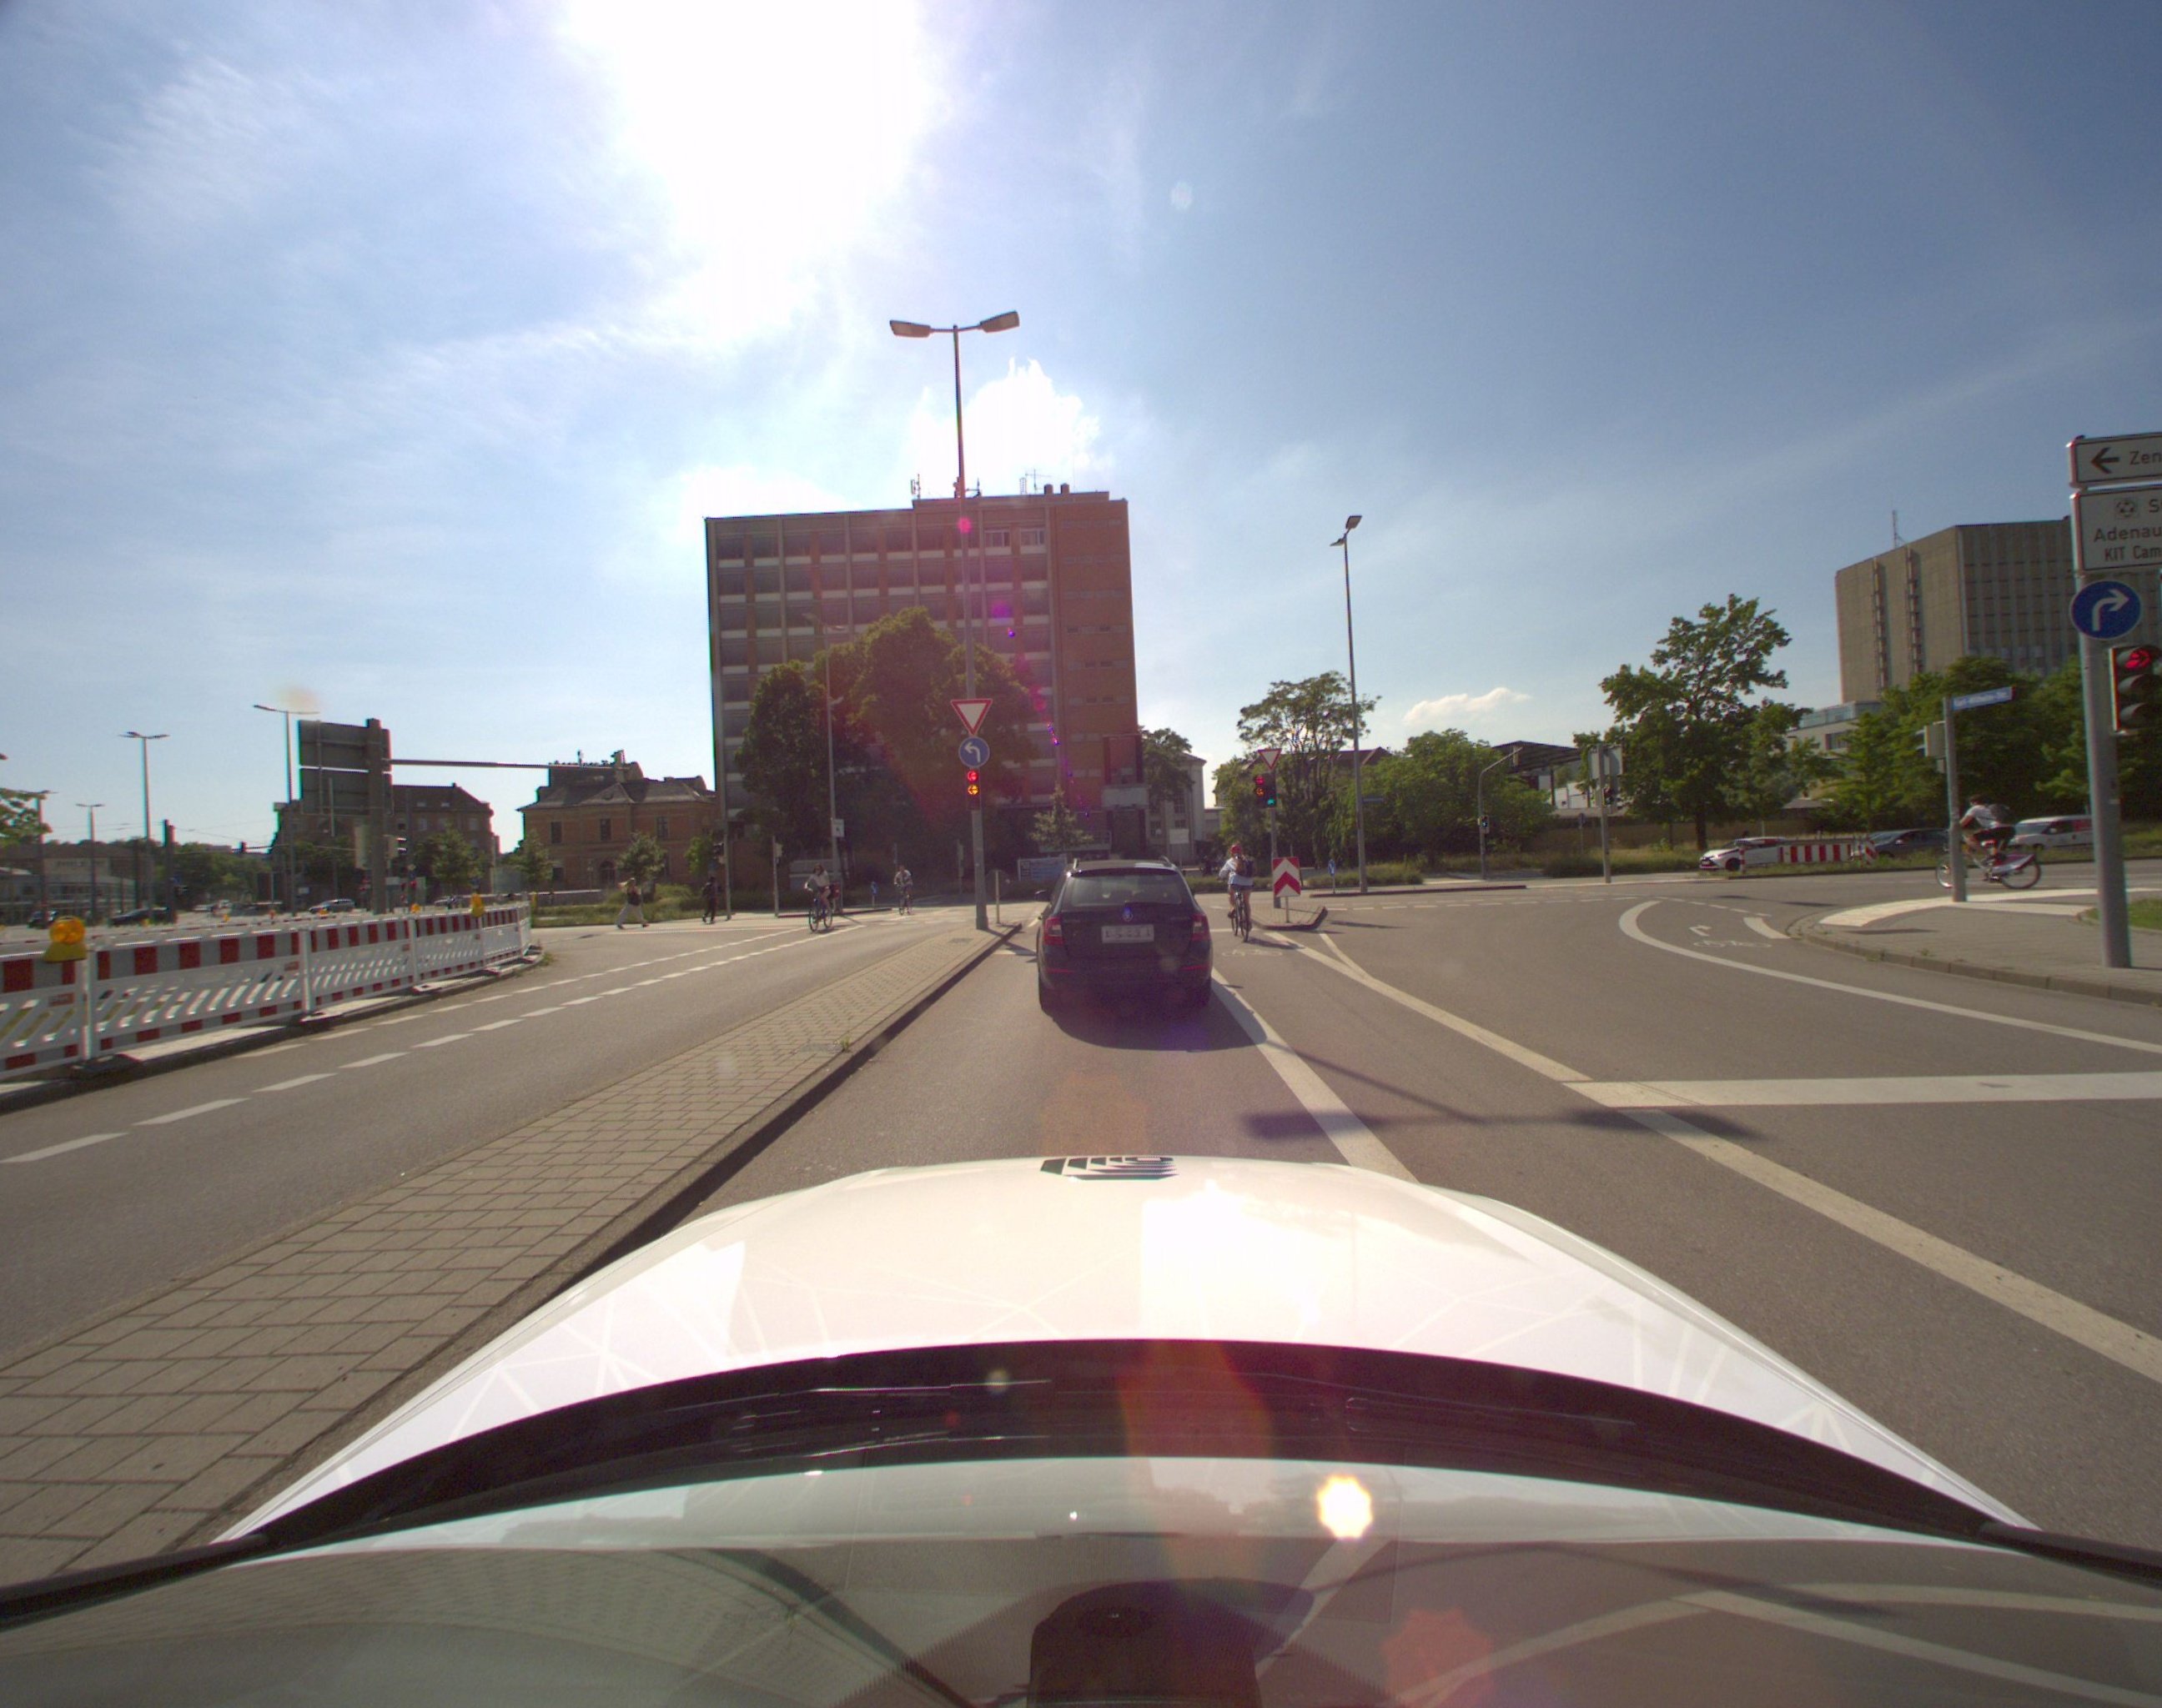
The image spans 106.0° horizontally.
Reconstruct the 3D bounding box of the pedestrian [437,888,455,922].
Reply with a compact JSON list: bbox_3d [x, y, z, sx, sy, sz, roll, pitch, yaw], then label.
[{"bbox_3d":[-39.136,3.152,50.205,0.624,2.013,0.522,-3,-1,-3],"label":"pedestrian"}]

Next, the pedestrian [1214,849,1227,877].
[{"bbox_3d":[9.547,0.600,55.839,0.634,1.874,0.797,-4,0,1],"label":"pedestrian"}]

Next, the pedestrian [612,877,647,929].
[{"bbox_3d":[-15.750,1.706,28.427,0.737,1.752,1.105,-3,-3,-14],"label":"pedestrian"}]

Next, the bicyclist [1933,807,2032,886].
[{"bbox_3d":[17.393,-0.123,15.737,0.496,1.470,1.135,0,-2,-20],"label":"bicyclist"}]

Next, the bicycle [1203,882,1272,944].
[{"bbox_3d":[2.729,1.002,14.414,0.596,0.931,2.023,-1,0,-7],"label":"bicycle"}]

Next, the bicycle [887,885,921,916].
[{"bbox_3d":[-6.350,1.666,29.313,0.702,0.977,2.030,-3,0,0],"label":"bicycle"}]

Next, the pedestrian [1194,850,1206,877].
[{"bbox_3d":[8.388,0.666,57.229,0.591,1.874,0.642,-3,-1,25],"label":"pedestrian"}]

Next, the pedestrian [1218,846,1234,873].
[{"bbox_3d":[10.480,0.413,58.838,0.786,1.874,0.643,-4,0,27],"label":"pedestrian"}]

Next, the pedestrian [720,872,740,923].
[{"bbox_3d":[-14.150,1.740,32.821,0.618,2.014,0.679,0,-2,-36],"label":"pedestrian"}]

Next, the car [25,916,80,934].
[{"bbox_3d":[-117.231,8.064,92.912,1.646,1.717,3.984,-3,-1,-11],"label":"car"}]

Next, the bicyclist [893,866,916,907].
[{"bbox_3d":[-6.354,1.148,29.333,0.537,1.417,1.030,-4,-1,0],"label":"bicyclist"}]

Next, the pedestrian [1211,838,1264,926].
[{"bbox_3d":[2.725,0.475,14.270,0.582,1.466,1.011,-1,-1,-7],"label":"pedestrian"}]

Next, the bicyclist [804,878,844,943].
[{"bbox_3d":[-6.643,1.446,21.092,0.617,1.581,1.013,-5,-1,-3],"label":"bicyclist"}]

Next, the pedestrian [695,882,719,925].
[{"bbox_3d":[-13.629,1.786,29.671,0.632,1.491,0.614,-3,-1,-15],"label":"pedestrian"}]

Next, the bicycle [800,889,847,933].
[{"bbox_3d":[-6.643,1.446,21.092,0.617,0.961,1.966,-5,0,-3],"label":"bicycle"}]

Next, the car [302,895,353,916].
[{"bbox_3d":[-87.288,5.950,94.416,1.986,2.013,4.002,-3,-1,2],"label":"car"}]

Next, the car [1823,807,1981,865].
[{"bbox_3d":[32.708,-0.679,32.574,3.966,2.014,2.004,-3,-2,7],"label":"car"}]

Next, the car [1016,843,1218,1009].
[{"bbox_3d":[0.396,0.649,9.153,1.773,1.443,3.820,-1,0,2],"label":"car"}]

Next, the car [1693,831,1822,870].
[{"bbox_3d":[29.867,-0.148,36.060,3.972,1.464,2.000,-3,-2,1],"label":"car"}]

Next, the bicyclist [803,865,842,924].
[{"bbox_3d":[-6.681,1.023,21.097,0.617,1.443,0.919,-5,-1,-3],"label":"bicyclist"}]

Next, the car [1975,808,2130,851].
[{"bbox_3d":[41.881,-1.029,35.186,4.294,1.569,1.911,-3,0,1],"label":"car"}]

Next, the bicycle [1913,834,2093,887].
[{"bbox_3d":[17.508,0.134,15.547,0.675,0.916,2.154,-3,0,-20],"label":"bicycle"}]
